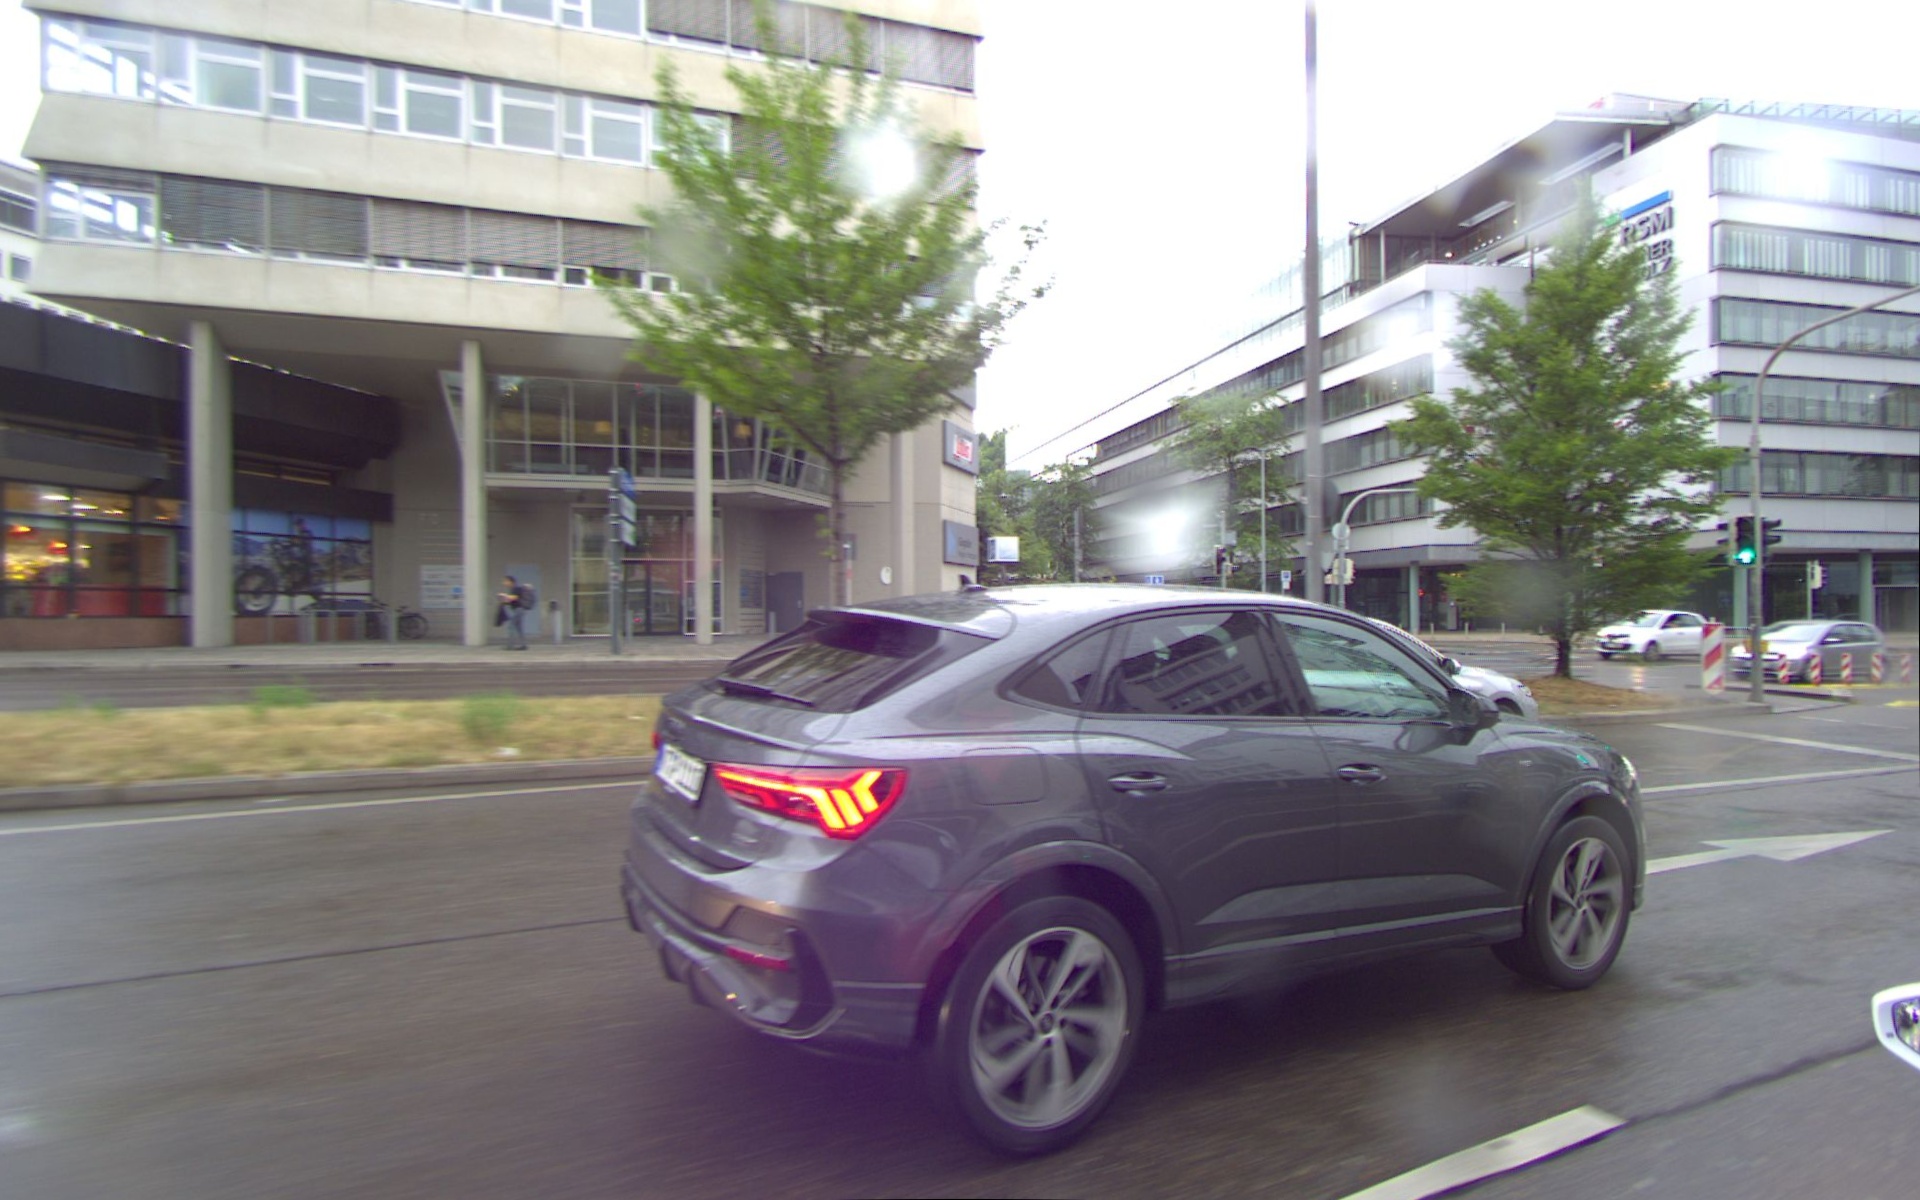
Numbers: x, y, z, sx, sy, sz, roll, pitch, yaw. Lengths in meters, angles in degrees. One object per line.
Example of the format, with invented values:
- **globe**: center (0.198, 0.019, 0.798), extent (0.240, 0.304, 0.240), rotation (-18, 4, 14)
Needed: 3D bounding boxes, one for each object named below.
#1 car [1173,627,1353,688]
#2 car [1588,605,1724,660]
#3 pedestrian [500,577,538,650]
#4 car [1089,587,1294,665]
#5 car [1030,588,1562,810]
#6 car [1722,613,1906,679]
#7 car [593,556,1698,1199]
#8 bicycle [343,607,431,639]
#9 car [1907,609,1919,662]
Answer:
- **car**: center (7.805, 1.464, 25.827), extent (4.354, 1.397, 1.856), rotation (2, 0, -27)
- **car**: center (22.103, 1.033, 31.910), extent (3.659, 1.592, 1.637), rotation (2, 0, -17)
- **pedestrian**: center (-10.501, 0.320, 23.897), extent (0.754, 1.706, 0.674), rotation (1, 0, -29)
- **car**: center (4.963, 0.548, 21.551), extent (4.092, 1.556, 1.640), rotation (1, 0, -23)
- **car**: center (3.114, 0.732, 9.029), extent (4.720, 1.554, 1.856), rotation (1, 0, -30)
- **car**: center (20.396, 1.094, 24.005), extent (3.810, 1.404, 1.688), rotation (2, 0, -21)
- **car**: center (0.935, 0.707, 3.927), extent (4.222, 1.542, 1.640), rotation (1, 0, -31)
- **bicycle**: center (-16.556, 0.675, 29.077), extent (2.169, 0.871, 0.455), rotation (2, 0, -35)
- **car**: center (31.253, 1.119, 30.517), extent (4.015, 1.602, 1.645), rotation (1, 0, -13)
